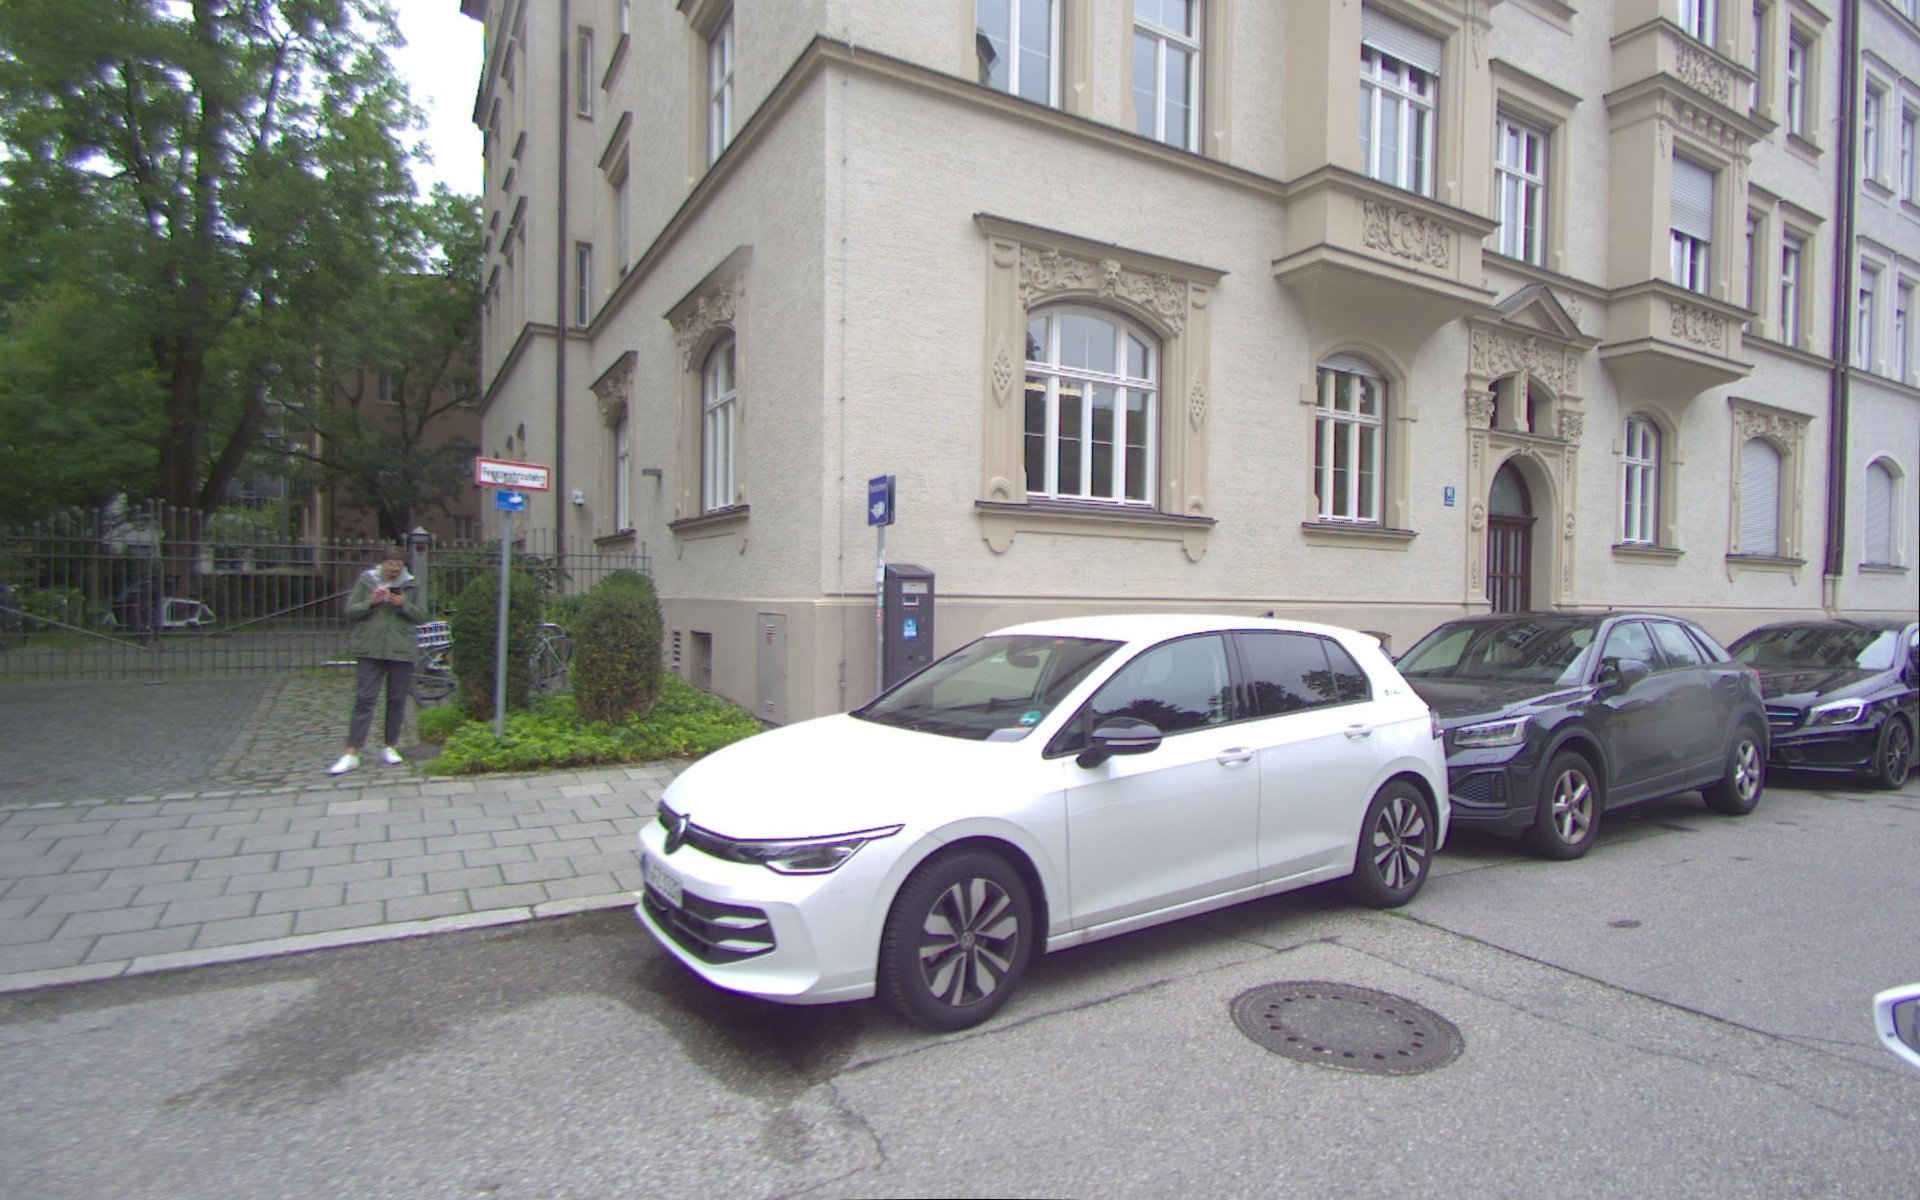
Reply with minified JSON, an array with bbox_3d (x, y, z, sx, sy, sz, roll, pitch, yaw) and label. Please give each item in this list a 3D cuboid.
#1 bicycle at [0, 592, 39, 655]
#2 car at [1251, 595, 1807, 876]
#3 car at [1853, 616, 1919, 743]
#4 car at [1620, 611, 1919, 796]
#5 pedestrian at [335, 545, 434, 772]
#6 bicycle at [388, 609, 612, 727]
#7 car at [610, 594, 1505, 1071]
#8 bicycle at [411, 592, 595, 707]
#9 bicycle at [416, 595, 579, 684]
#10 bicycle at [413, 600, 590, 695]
[{"bbox_3d":[-15.714,0.368,16.533,0.469,1.005,1.430,0,0,-28],"label":"bicycle"},{"bbox_3d":[4.333,0.787,7.449,4.337,1.538,1.760,0,-2,-33],"label":"car"},{"bbox_3d":[12.966,0.906,12.283,4.194,1.454,1.828,0,-2,-30],"label":"car"},{"bbox_3d":[8.595,0.840,9.868,4.502,1.453,1.824,0,-1,-32],"label":"car"},{"bbox_3d":[-4.440,0.424,7.740,0.624,1.648,0.669,0,1,-33],"label":"pedestrian"},{"bbox_3d":[-4.644,0.650,10.227,1.983,0.973,0.691,-3,5,-28],"label":"bicycle"},{"bbox_3d":[0.632,0.733,4.971,4.197,1.453,1.826,0,-1,-32],"label":"car"},{"bbox_3d":[-5.119,0.519,11.306,1.796,1.107,0.610,-3,5,-28],"label":"bicycle"},{"bbox_3d":[-5.849,0.467,12.753,1.809,1.011,0.551,-2,2,-28],"label":"bicycle"},{"bbox_3d":[-5.488,0.536,12.082,1.883,1.017,0.582,-2,3,-28],"label":"bicycle"}]
